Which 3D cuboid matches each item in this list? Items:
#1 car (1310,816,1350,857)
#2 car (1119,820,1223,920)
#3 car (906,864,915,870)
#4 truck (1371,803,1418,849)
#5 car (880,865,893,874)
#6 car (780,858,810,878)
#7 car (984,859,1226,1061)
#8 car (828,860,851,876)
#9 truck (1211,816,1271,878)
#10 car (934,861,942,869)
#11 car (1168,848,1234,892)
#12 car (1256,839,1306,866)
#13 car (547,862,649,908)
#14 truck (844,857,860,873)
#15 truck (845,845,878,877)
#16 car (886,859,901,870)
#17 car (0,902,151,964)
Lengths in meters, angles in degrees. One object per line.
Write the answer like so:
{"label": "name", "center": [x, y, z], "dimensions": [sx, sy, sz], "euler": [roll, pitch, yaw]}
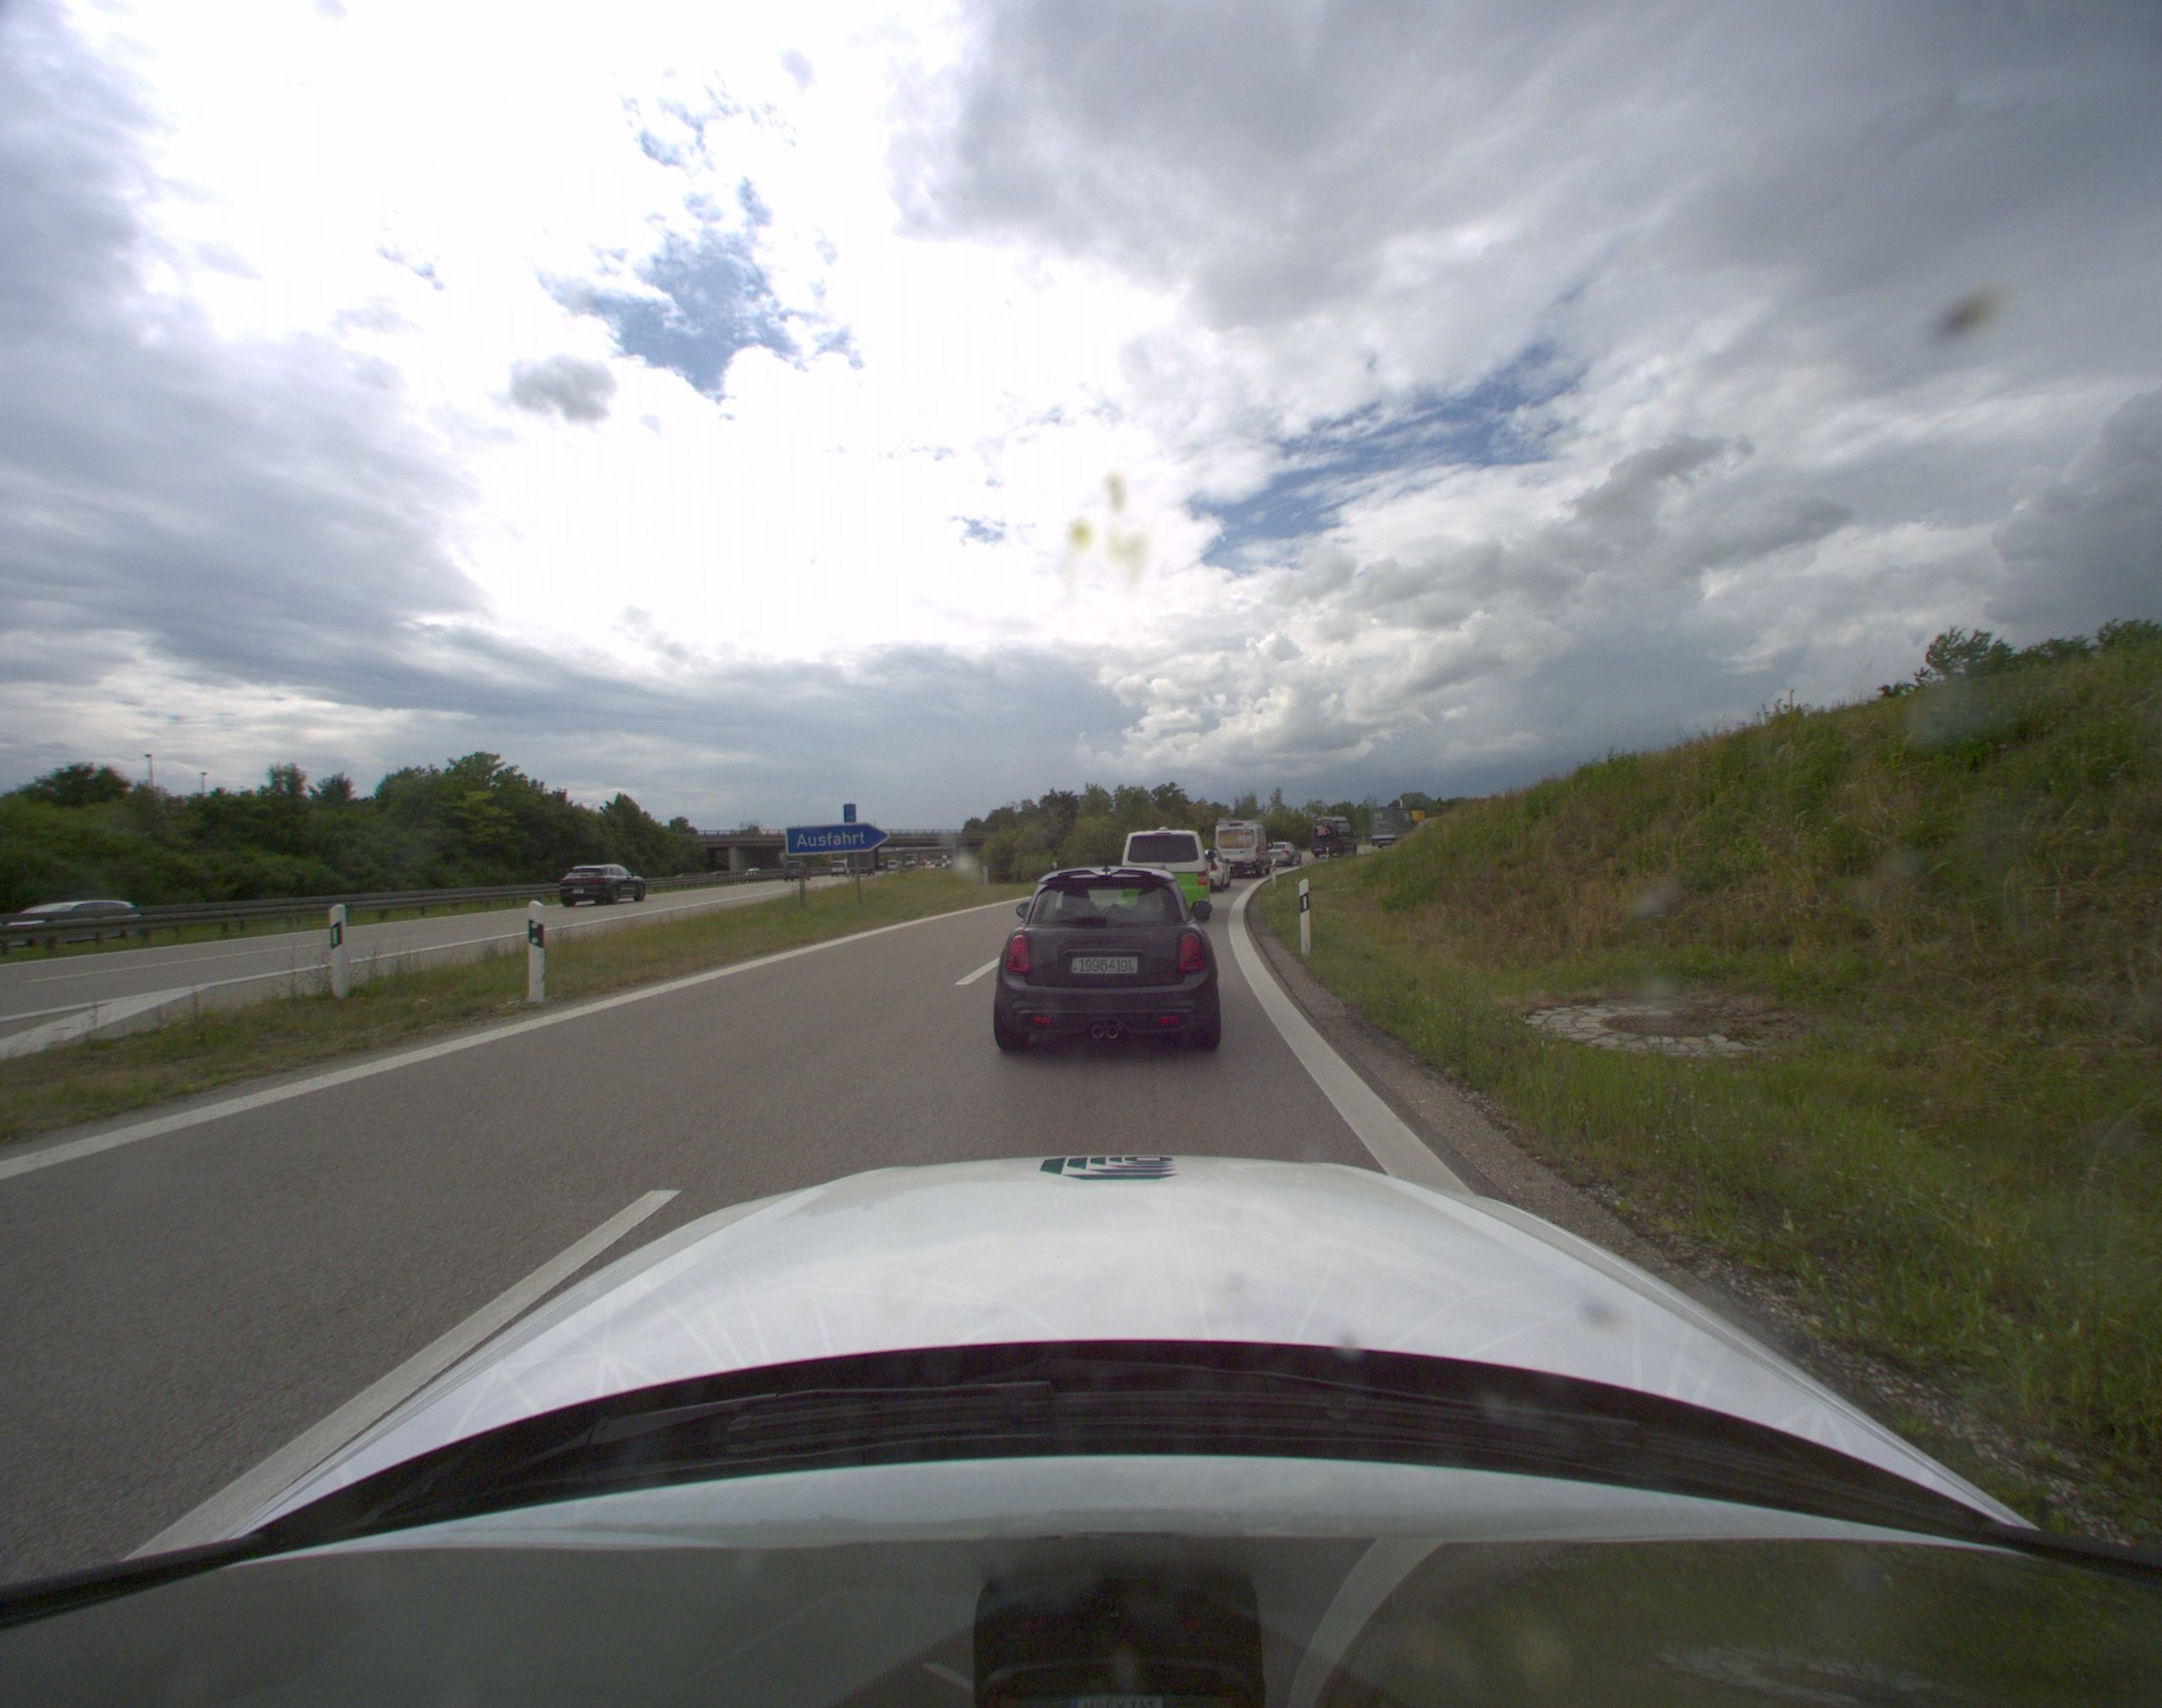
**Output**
{"label": "car", "center": [18.051, -1.237, 58.968], "dimensions": [2.085, 2.796, 4.024], "euler": [-1, 0, 27]}
{"label": "car", "center": [2.152, 0.335, 18.466], "dimensions": [1.771, 2.013, 4.015], "euler": [-1, 0, 14]}
{"label": "car", "center": [-43.614, 3.365, 208.248], "dimensions": [1.721, 1.424, 4.784], "euler": [-2, 0, -8]}
{"label": "truck", "center": [28.529, -2.468, 73.978], "dimensions": [2.207, 3.907, 6.054], "euler": [-1, -1, 39]}
{"label": "car", "center": [-38.909, 3.097, 163.239], "dimensions": [1.992, 1.785, 5.397], "euler": [-2, 0, -8]}
{"label": "car", "center": [-26.838, 1.298, 76.522], "dimensions": [1.844, 1.758, 4.323], "euler": [-2, 0, -9]}
{"label": "car", "center": [0.216, 0.772, 7.726], "dimensions": [1.721, 1.413, 3.726], "euler": [-1, 0, 1]}
{"label": "car", "center": [-29.289, 1.634, 98.826], "dimensions": [1.992, 1.810, 3.989], "euler": [-2, 0, -8]}
{"label": "truck", "center": [7.595, -0.352, 38.257], "dimensions": [2.161, 2.658, 5.132], "euler": [-2, 1, 17]}
{"label": "car", "center": [-37.006, 2.960, 211.419], "dimensions": [1.993, 2.014, 3.986], "euler": [0, -1, -10]}
{"label": "car", "center": [4.301, 0.520, 28.694], "dimensions": [1.749, 1.399, 3.741], "euler": [-2, 0, 16]}
{"label": "car", "center": [12.019, -0.119, 48.759], "dimensions": [1.848, 1.510, 4.025], "euler": [-2, 0, 29]}
{"label": "car", "center": [-20.671, 1.284, 35.123], "dimensions": [1.993, 1.743, 4.815], "euler": [-3, 0, -8]}
{"label": "truck", "center": [-56.401, 2.751, 200.826], "dimensions": [2.757, 3.646, 8.173], "euler": [-2, 0, -8]}
{"label": "truck", "center": [-24.694, 0.816, 91.834], "dimensions": [2.466, 3.371, 7.899], "euler": [-3, -1, -8]}
{"label": "car", "center": [-31.045, 1.733, 135.118], "dimensions": [1.875, 1.751, 4.475], "euler": [-2, 0, -7]}
{"label": "car", "center": [-32.376, 2.451, 25.705], "dimensions": [1.803, 1.596, 3.986], "euler": [-2, 0, -10]}
